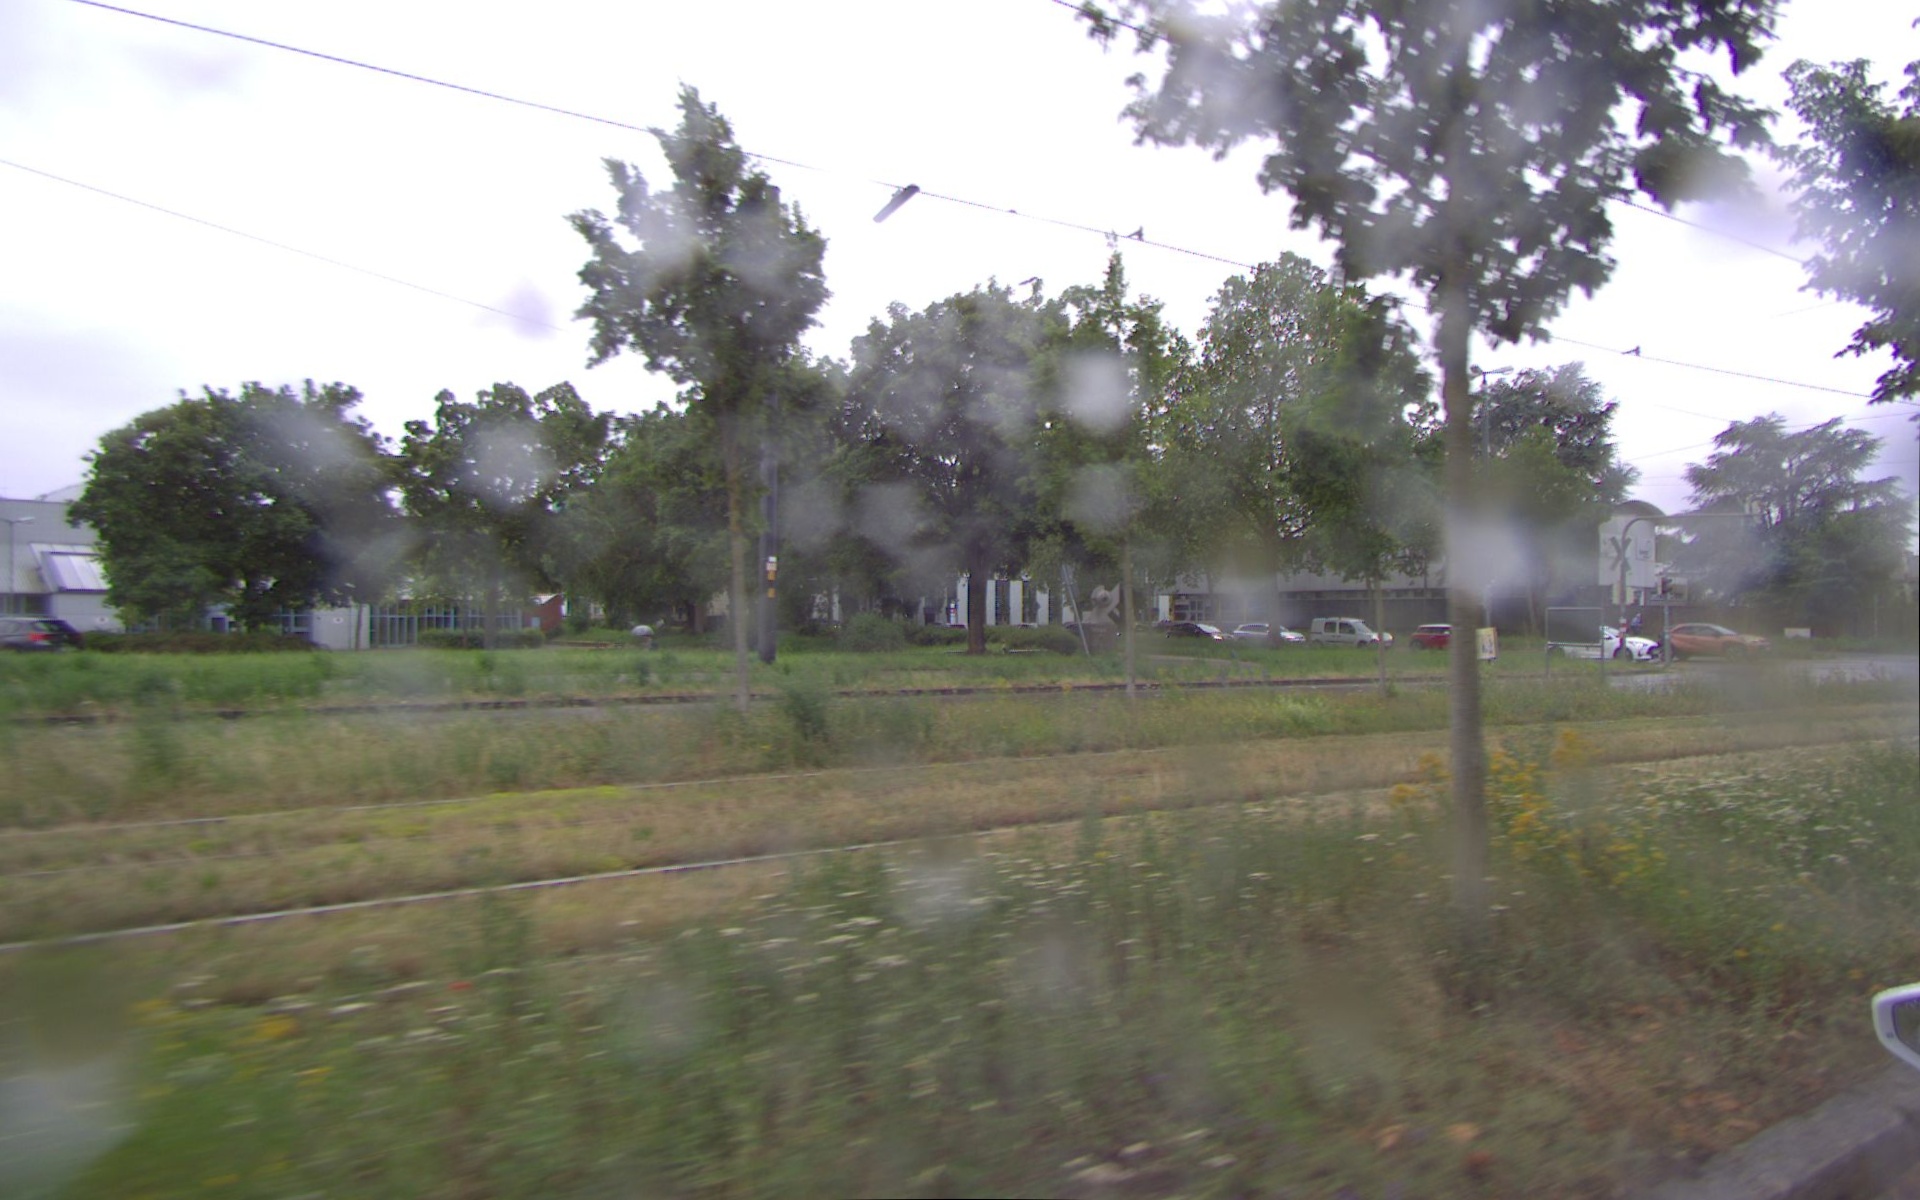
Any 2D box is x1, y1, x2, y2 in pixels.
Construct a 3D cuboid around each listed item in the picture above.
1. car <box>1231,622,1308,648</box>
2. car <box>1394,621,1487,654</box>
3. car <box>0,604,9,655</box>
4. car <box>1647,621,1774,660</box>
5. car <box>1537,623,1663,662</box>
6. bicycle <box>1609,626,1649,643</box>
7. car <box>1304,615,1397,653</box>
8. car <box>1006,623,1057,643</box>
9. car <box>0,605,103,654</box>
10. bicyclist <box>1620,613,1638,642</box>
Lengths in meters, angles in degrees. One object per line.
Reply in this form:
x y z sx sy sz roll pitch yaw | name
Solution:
18.160 2.041 59.107 1.635 1.475 4.330 1 -2 -34 | car
24.062 1.847 50.413 1.637 1.519 3.879 0 -1 -37 | car
-27.894 0.786 26.415 4.016 1.356 1.838 0 -1 1 | car
30.391 1.630 40.781 1.634 1.518 3.797 1 -2 -32 | car
26.001 1.699 40.933 1.634 1.518 4.043 1 -2 -32 | car
40.247 2.086 60.445 0.633 0.979 1.952 1 -2 -26 | bicycle
19.751 1.700 50.961 1.635 1.820 4.183 0 -1 -34 | car
5.074 2.330 71.372 1.635 1.413 3.794 1 -2 -34 | car
-27.429 0.843 28.886 4.016 1.356 1.838 0 -1 1 | car
40.257 1.648 60.432 0.633 1.705 0.682 1 -2 -26 | bicyclist
